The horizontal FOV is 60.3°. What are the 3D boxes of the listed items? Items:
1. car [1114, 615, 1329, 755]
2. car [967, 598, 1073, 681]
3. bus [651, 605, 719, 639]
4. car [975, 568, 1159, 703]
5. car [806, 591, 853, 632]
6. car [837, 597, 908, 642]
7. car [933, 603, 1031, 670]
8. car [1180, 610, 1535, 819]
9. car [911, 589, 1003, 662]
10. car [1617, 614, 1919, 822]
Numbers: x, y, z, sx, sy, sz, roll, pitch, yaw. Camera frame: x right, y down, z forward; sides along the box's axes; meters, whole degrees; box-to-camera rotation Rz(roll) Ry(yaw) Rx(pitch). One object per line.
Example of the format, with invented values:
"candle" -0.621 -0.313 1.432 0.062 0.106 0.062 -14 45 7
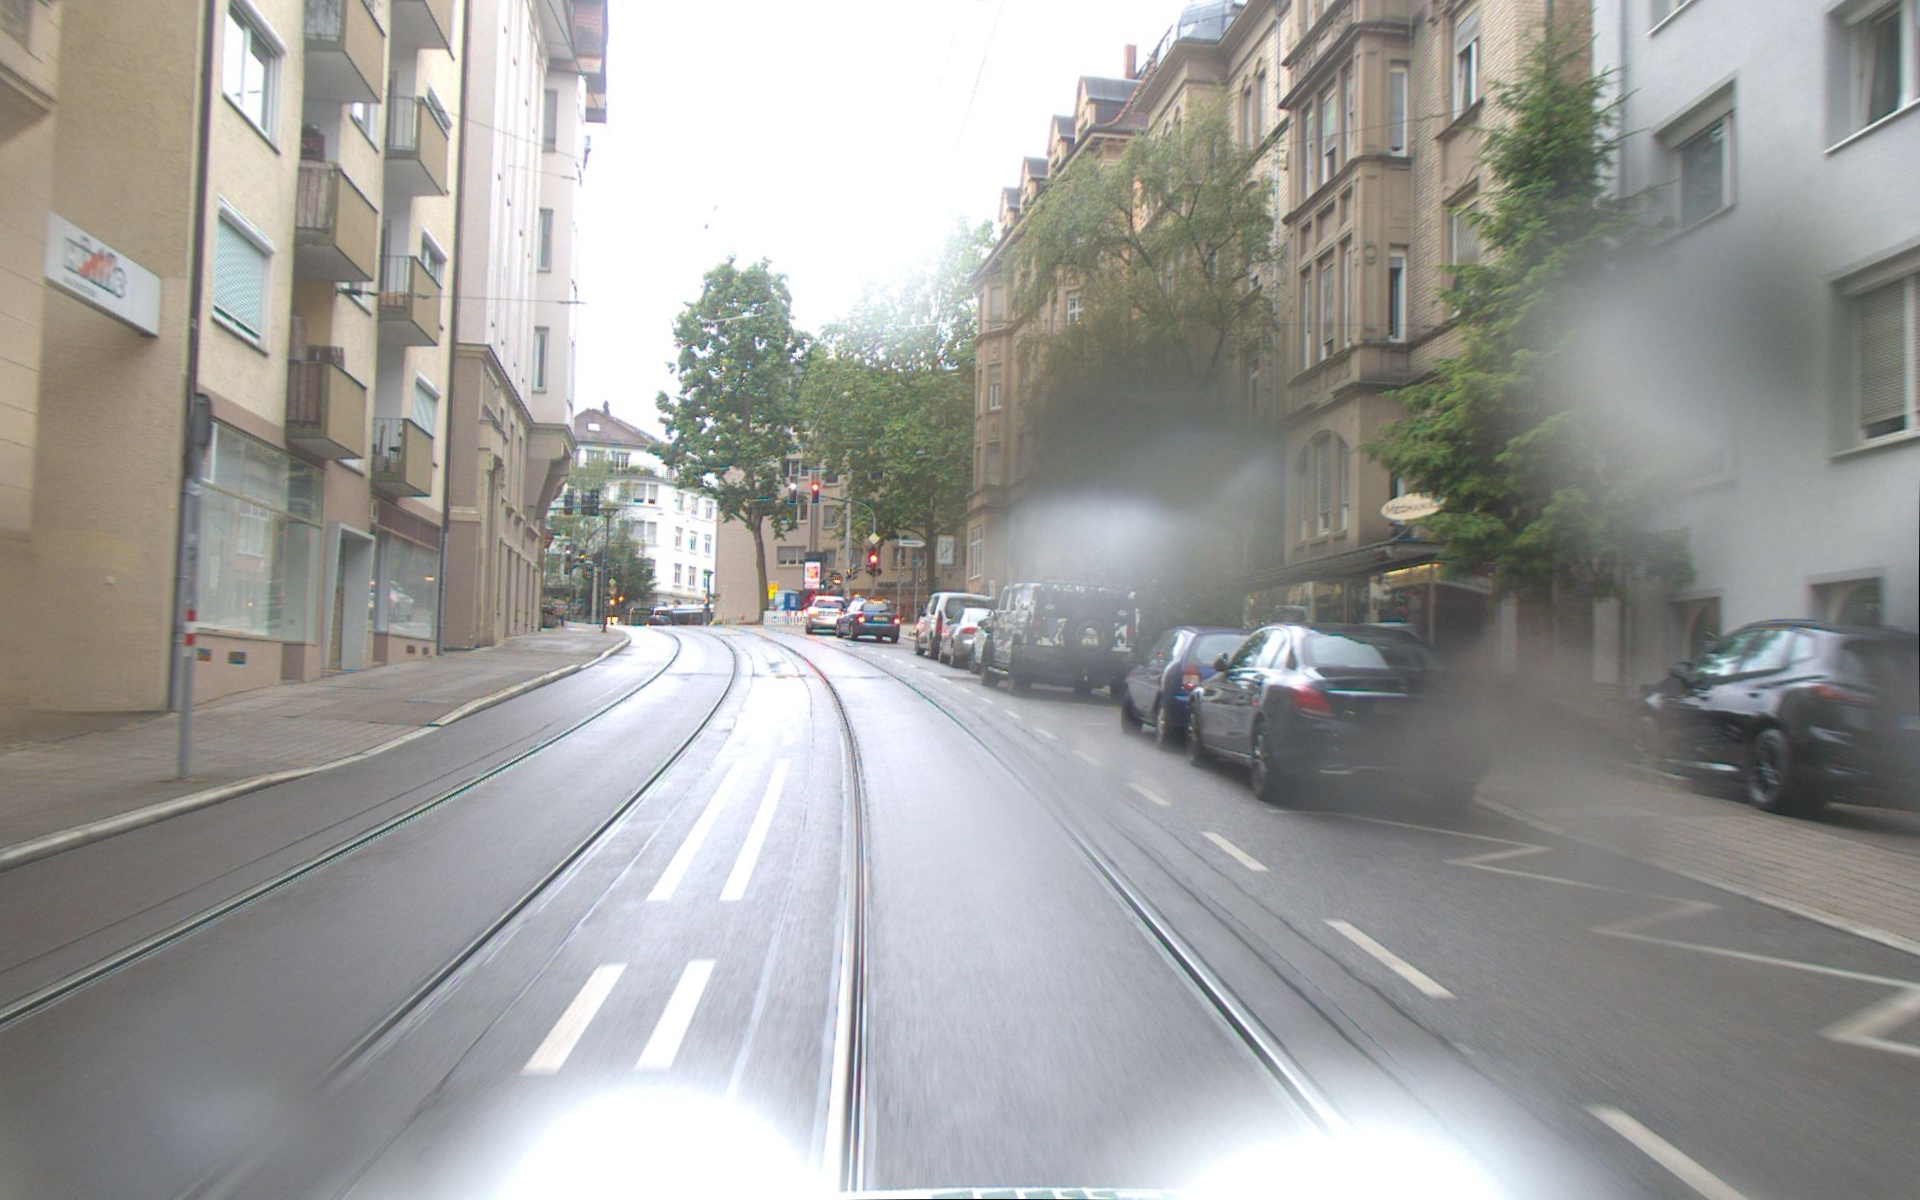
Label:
"car" 2.926 0.910 19.285 1.645 1.361 3.880 2 0 -3
"car" 1.225 0.800 35.244 1.531 1.573 3.577 4 0 -9
"bus" -24.950 1.956 150.705 2.794 2.911 8.740 1 0 15
"car" 1.761 0.568 29.278 2.089 2.048 5.340 4 0 -8
"car" -5.162 0.445 65.109 1.678 1.481 3.548 2 0 -7
"car" -3.163 0.680 59.313 1.682 1.440 4.019 2 0 -16
"car" 0.471 0.853 40.353 1.716 1.425 4.471 4 0 -7
"car" 3.297 0.878 14.705 1.759 1.462 4.607 2 0 -3
"car" -0.145 0.655 45.308 1.764 1.796 4.453 4 0 -9
"car" 7.338 0.919 14.197 1.775 1.451 4.154 4 0 2
